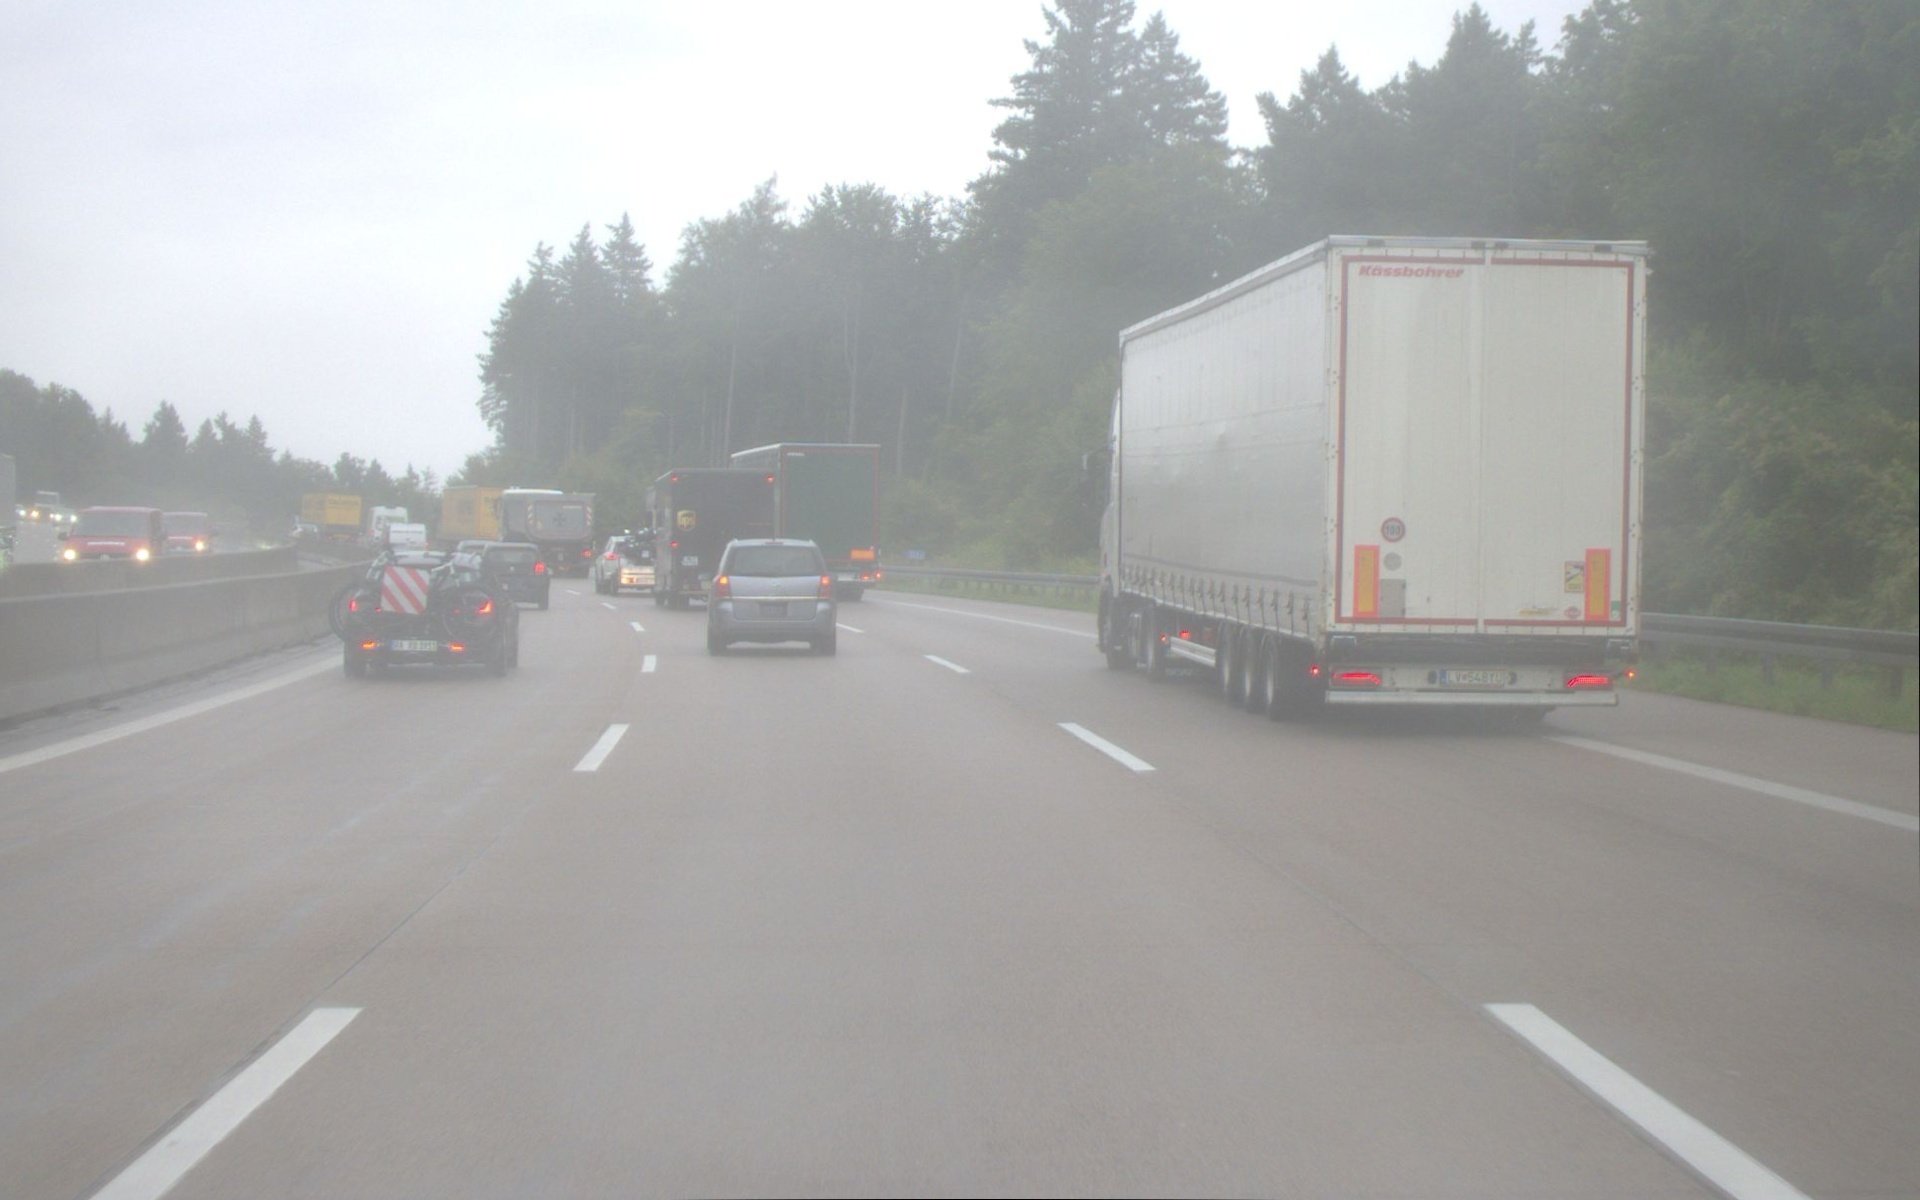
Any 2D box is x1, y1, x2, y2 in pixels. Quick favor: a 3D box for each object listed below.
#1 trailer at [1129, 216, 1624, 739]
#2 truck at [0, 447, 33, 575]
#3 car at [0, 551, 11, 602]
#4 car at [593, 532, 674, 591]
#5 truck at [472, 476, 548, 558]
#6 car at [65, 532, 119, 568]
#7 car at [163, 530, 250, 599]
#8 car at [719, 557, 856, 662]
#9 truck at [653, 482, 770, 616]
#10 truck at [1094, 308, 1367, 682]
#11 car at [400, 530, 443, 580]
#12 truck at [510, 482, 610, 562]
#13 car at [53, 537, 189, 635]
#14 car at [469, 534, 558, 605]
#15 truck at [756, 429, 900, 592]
[{"bbox_3d":[3.544,-1.066,32.790,2.419,4.054,12.057,0,1,-4],"label":"trailer"},{"bbox_3d":[-34.038,-3.056,118.998,2.744,4.270,8.317,0,1,-8],"label":"truck"},{"bbox_3d":[-27.438,-0.648,95.323,1.621,1.388,4.001,0,1,-7],"label":"car"},{"bbox_3d":[-8.781,-1.052,92.635,1.881,1.468,4.001,2,1,-2],"label":"car"},{"bbox_3d":[-23.986,-4.392,182.961,3.739,4.195,6.820,-1,0,-10],"label":"truck"},{"bbox_3d":[-33.473,-1.942,132.684,1.621,1.388,4.001,0,1,-9],"label":"car"},{"bbox_3d":[-23.271,-1.117,106.304,1.993,2.075,5.333,0,1,-5],"label":"car"},{"bbox_3d":[-2.383,0.106,48.148,1.554,1.347,3.683,2,1,2],"label":"car"},{"bbox_3d":[-5.707,-1.222,78.066,2.269,2.877,7.905,0,2,-7],"label":"truck"},{"bbox_3d":[3.034,-1.184,39.807,2.419,4.054,4.979,0,1,-4],"label":"truck"},{"bbox_3d":[-22.402,-1.862,143.008,1.725,2.007,3.658,-1,0,-10],"label":"car"},{"bbox_3d":[-15.030,-2.963,128.655,3.081,2.895,7.906,0,2,-11],"label":"truck"},{"bbox_3d":[-18.252,-0.342,75.039,1.993,2.075,5.333,0,1,-4],"label":"car"},{"bbox_3d":[-9.751,-0.681,75.247,1.683,1.457,3.684,2,1,-4],"label":"car"},{"bbox_3d":[-3.659,-2.373,92.516,3.368,4.117,10.439,0,1,-5],"label":"truck"}]
